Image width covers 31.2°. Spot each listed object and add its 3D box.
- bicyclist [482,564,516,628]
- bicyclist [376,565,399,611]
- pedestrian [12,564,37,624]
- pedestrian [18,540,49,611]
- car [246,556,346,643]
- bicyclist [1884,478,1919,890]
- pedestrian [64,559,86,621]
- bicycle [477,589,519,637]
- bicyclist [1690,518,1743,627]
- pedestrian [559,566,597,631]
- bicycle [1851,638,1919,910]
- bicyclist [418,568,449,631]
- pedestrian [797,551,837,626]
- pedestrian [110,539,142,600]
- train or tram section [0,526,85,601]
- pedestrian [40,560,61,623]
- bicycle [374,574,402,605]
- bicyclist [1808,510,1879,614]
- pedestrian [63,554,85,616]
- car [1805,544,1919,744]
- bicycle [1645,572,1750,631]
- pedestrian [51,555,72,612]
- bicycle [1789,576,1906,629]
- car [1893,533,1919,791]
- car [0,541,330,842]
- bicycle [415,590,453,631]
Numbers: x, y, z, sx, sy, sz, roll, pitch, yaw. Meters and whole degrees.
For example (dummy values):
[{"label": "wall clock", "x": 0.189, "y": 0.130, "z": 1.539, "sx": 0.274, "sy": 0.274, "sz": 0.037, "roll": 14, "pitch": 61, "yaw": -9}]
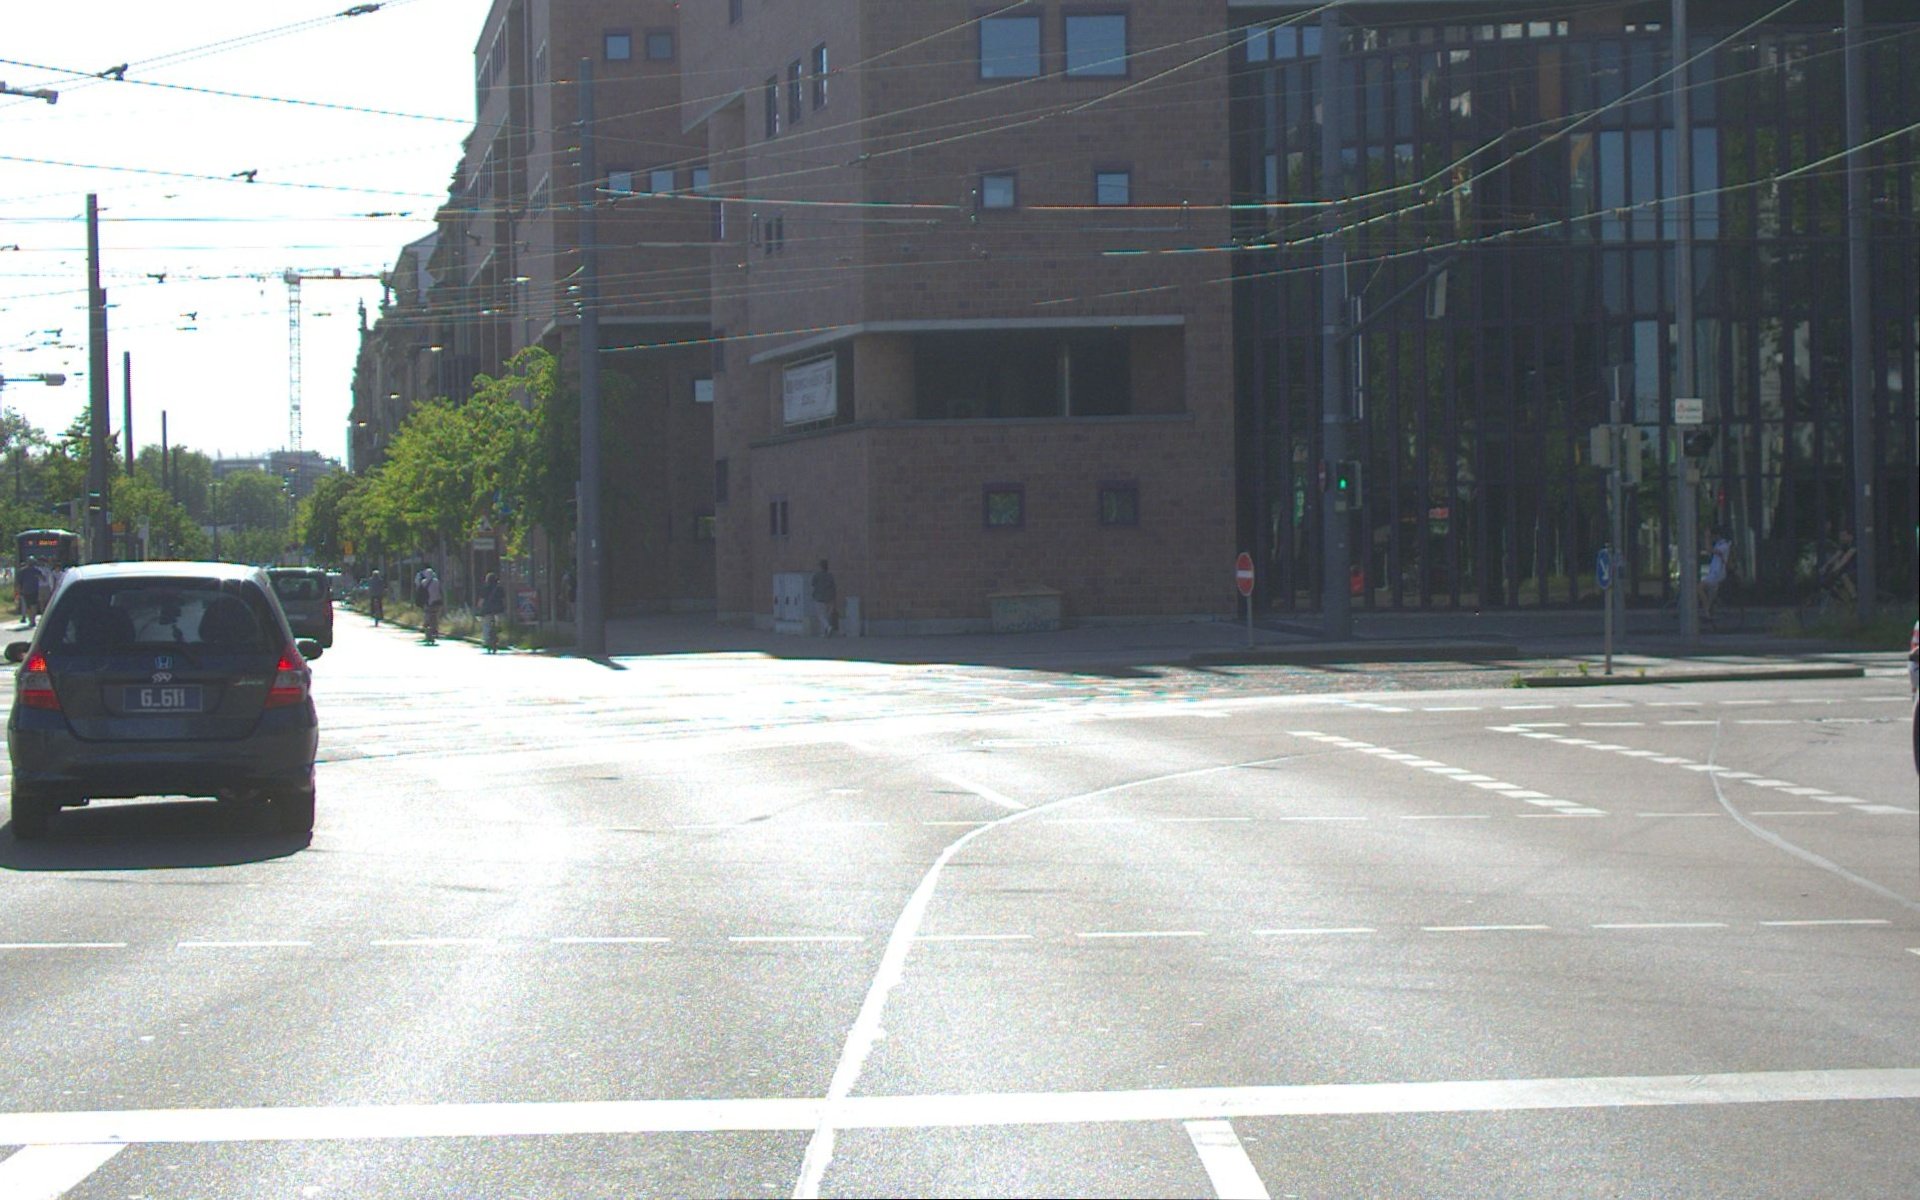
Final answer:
[{"label": "bicyclist", "x": -9.671, "y": -0.082, "z": 72.122, "sx": 0.592, "sy": 1.331, "sz": 0.933, "roll": -1, "pitch": 0, "yaw": -14}, {"label": "bicyclist", "x": -18.857, "y": -0.395, "z": 113.204, "sx": 0.667, "sy": 1.521, "sz": 0.707, "roll": -1, "pitch": 0, "yaw": -14}, {"label": "pedestrian", "x": -24.922, "y": -0.160, "z": 91.604, "sx": 0.600, "sy": 1.561, "sz": 0.914, "roll": -1, "pitch": 0, "yaw": -14}, {"label": "pedestrian", "x": -22.284, "y": -0.594, "z": 82.714, "sx": 0.614, "sy": 1.663, "sz": 0.864, "roll": -4, "pitch": 2, "yaw": -15}, {"label": "car", "x": -15.380, "y": -0.026, "z": 79.530, "sx": 1.993, "sy": 1.941, "sz": 4.001, "roll": -1, "pitch": 1, "yaw": -14}, {"label": "bicyclist", "x": 4.379, "y": 0.353, "z": 14.466, "sx": 0.649, "sy": 1.746, "sz": 1.045, "roll": -1, "pitch": 2, "yaw": -2}, {"label": "pedestrian", "x": -23.630, "y": -0.266, "z": 91.773, "sx": 0.538, "sy": 1.649, "sz": 0.896, "roll": -1, "pitch": 0, "yaw": -14}, {"label": "bicycle", "x": -9.752, "y": 0.265, "z": 72.473, "sx": 0.603, "sy": 0.982, "sz": 2.315, "roll": -1, "pitch": 0, "yaw": -14}, {"label": "bicyclist", "x": 13.208, "y": -0.484, "z": 60.020, "sx": 0.605, "sy": 1.877, "sz": 0.651, "roll": -1, "pitch": 0, "yaw": -21}, {"label": "pedestrian", "x": -10.329, "y": -0.042, "z": 92.900, "sx": 0.879, "sy": 1.711, "sz": 0.931, "roll": -1, "pitch": 0, "yaw": -14}, {"label": "bicycle", "x": 4.381, "y": 0.752, "z": 14.646, "sx": 0.649, "sy": 1.106, "sz": 1.758, "roll": -1, "pitch": 2, "yaw": -2}, {"label": "bicyclist", "x": -12.765, "y": -0.009, "z": 83.387, "sx": 0.667, "sy": 1.521, "sz": 0.707, "roll": -1, "pitch": 0, "yaw": -14}, {"label": "pedestrian", "x": -3.017, "y": -0.242, "z": 72.488, "sx": 0.617, "sy": 1.558, "sz": 0.987, "roll": -1, "pitch": 0, "yaw": -15}, {"label": "pedestrian", "x": -23.806, "y": -0.873, "z": 98.164, "sx": 0.716, "sy": 1.729, "sz": 0.602, "roll": -1, "pitch": 0, "yaw": -31}, {"label": "train or tram section", "x": -38.614, "y": -1.545, "z": 144.691, "sx": 2.326, "sy": 2.993, "sz": 13.163, "roll": -1, "pitch": 1, "yaw": -9}, {"label": "pedestrian", "x": -24.221, "y": -0.224, "z": 91.587, "sx": 0.510, "sy": 1.649, "sz": 0.762, "roll": -1, "pitch": 0, "yaw": -14}, {"label": "bicycle", "x": -18.831, "y": -0.345, "z": 113.150, "sx": 0.667, "sy": 0.982, "sz": 2.586, "roll": -1, "pitch": 0, "yaw": -14}, {"label": "bicyclist", "x": 14.028, "y": -0.597, "z": 54.607, "sx": 0.862, "sy": 1.624, "sz": 0.672, "roll": -1, "pitch": 0, "yaw": -11}, {"label": "pedestrian", "x": -23.698, "y": -0.402, "z": 91.979, "sx": 0.538, "sy": 1.649, "sz": 0.707, "roll": -1, "pitch": 0, "yaw": -14}, {"label": "car", "x": 8.859, "y": 0.338, "z": 28.192, "sx": 1.911, "sy": 1.536, "sz": 4.127, "roll": 2, "pitch": 2, "yaw": 44}, {"label": "bicycle", "x": 12.863, "y": 0.027, "z": 59.955, "sx": 1.668, "sy": 0.991, "sz": 0.673, "roll": -1, "pitch": 1, "yaw": -21}, {"label": "pedestrian", "x": -24.366, "y": -0.449, "z": 93.230, "sx": 0.518, "sy": 1.546, "sz": 0.601, "roll": -1, "pitch": 0, "yaw": -14}, {"label": "bicycle", "x": 14.104, "y": 0.034, "z": 54.645, "sx": 1.668, "sy": 0.803, "sz": 0.673, "roll": -1, "pitch": 1, "yaw": -11}, {"label": "car", "x": 6.784, "y": 0.425, "z": 19.657, "sx": 1.906, "sy": 1.578, "sz": 4.138, "roll": 1, "pitch": 1, "yaw": 2}, {"label": "car", "x": -4.613, "y": 0.458, "z": 20.049, "sx": 1.726, "sy": 1.558, "sz": 3.678, "roll": -1, "pitch": 1, "yaw": -12}, {"label": "bicycle", "x": -12.761, "y": 0.244, "z": 83.377, "sx": 0.667, "sy": 0.982, "sz": 2.586, "roll": -1, "pitch": 0, "yaw": -14}]
